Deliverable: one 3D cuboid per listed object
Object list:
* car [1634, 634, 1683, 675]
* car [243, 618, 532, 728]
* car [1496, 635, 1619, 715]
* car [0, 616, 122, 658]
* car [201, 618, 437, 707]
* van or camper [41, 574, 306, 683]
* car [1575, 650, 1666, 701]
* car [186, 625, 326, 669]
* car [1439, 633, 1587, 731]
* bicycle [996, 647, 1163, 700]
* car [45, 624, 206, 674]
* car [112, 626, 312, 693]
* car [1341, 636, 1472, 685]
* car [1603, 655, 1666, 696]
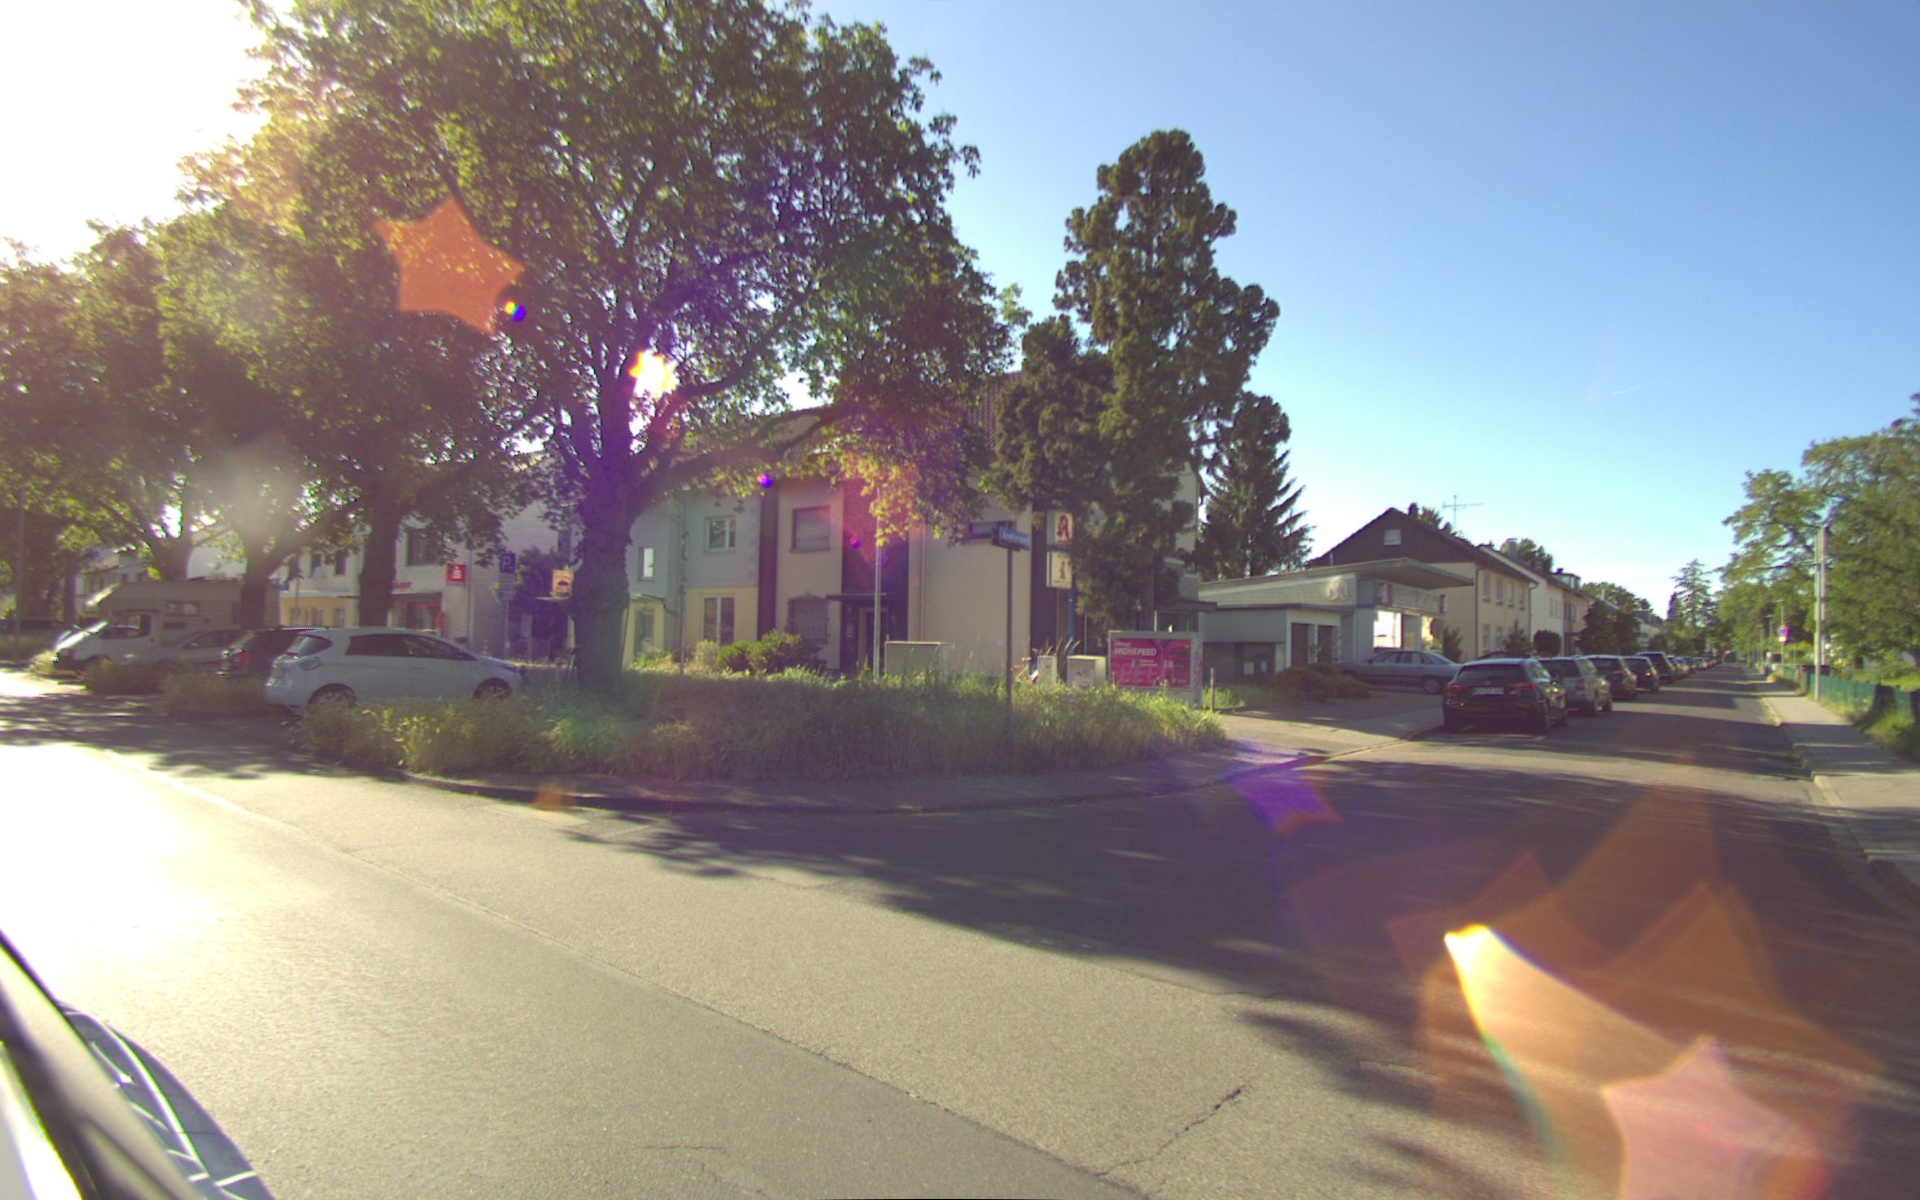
[{"bbox_3d":[38.522,2.974,55.789,1.997,1.962,3.949,0,1,38],"label":"car"},{"bbox_3d":[-9.842,1.181,17.624,1.965,1.673,3.946,-1,-2,40],"label":"car"},{"bbox_3d":[15.161,1.823,25.597,1.999,1.834,3.945,-1,-2,41],"label":"car"},{"bbox_3d":[-42.767,1.716,47.477,1.997,1.741,5.014,0,1,37],"label":"car"},{"bbox_3d":[-13.908,1.274,22.126,1.998,1.601,3.947,0,1,40],"label":"car"},{"bbox_3d":[-22.242,0.684,28.867,2.000,2.826,5.713,0,1,43],"label":"van or camper"},{"bbox_3d":[22.008,2.463,33.665,1.999,1.551,3.945,-1,-3,41],"label":"car"},{"bbox_3d":[-26.469,1.722,38.172,1.866,1.554,3.952,0,-1,36],"label":"car"},{"bbox_3d":[11.113,1.546,20.229,1.821,1.727,3.945,-1,-2,41],"label":"car"},{"bbox_3d":[2.865,1.753,24.584,4.033,1.185,0.700,-1,-3,25],"label":"bicycle"},{"bbox_3d":[-27.400,1.560,33.308,1.640,1.460,3.942,0,0,44],"label":"car"},{"bbox_3d":[-19.945,1.516,27.117,1.998,1.469,3.947,0,1,39],"label":"car"},{"bbox_3d":[15.042,1.998,34.165,3.754,1.530,1.781,-1,-2,38],"label":"car"},{"bbox_3d":[27.721,3.045,41.555,1.818,1.551,3.818,-1,-3,39],"label":"car"}]
